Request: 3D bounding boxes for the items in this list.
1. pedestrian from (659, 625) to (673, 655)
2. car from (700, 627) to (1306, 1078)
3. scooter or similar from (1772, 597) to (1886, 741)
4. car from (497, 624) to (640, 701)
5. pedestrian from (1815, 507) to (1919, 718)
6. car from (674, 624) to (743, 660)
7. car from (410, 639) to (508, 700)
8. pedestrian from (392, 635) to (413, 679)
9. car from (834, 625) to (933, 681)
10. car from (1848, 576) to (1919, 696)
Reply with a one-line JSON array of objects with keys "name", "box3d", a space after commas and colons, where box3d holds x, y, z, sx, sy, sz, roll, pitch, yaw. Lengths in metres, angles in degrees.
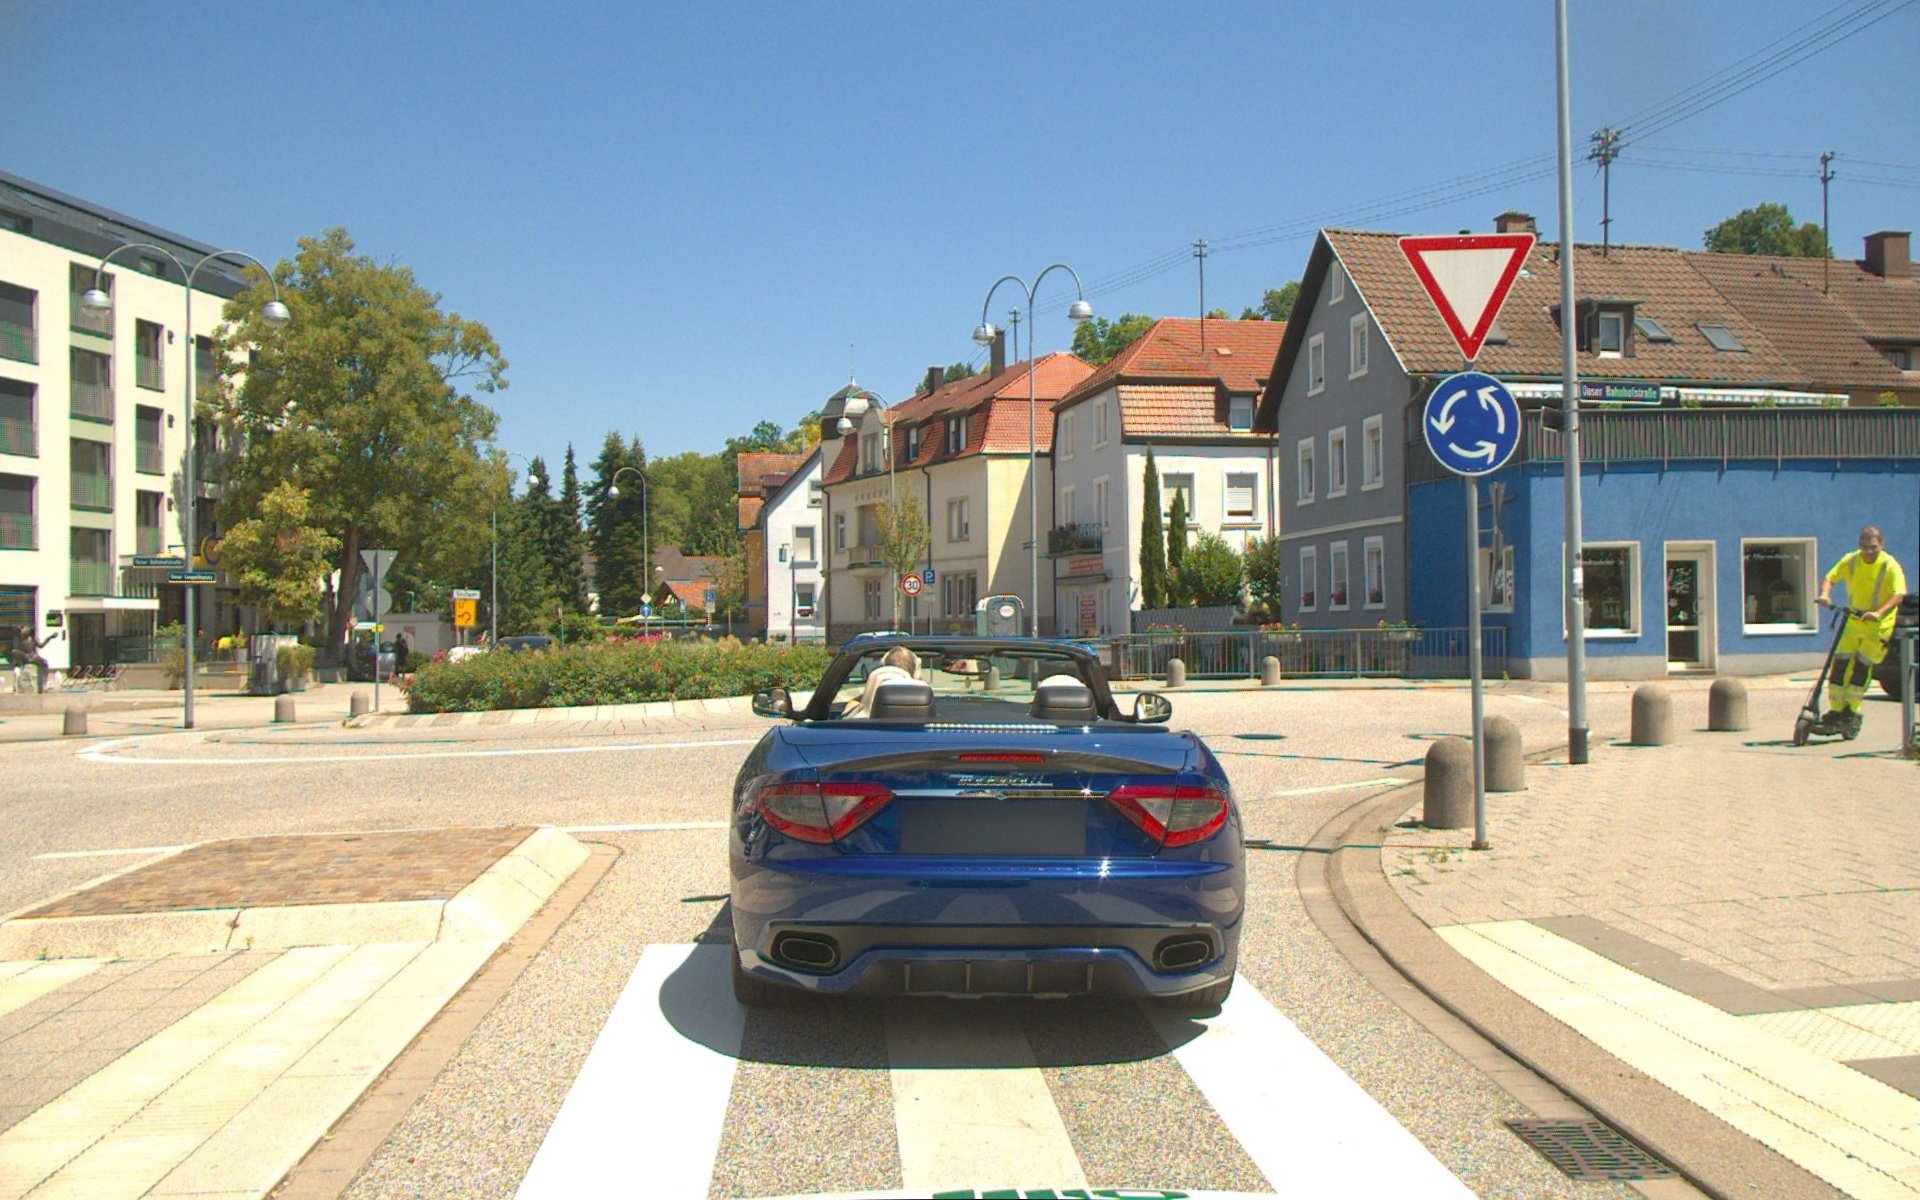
[{"name": "pedestrian", "box3d": [-15.905, 2.177, 89.480, 0.604, 1.613, 0.582, -1, -1, -27]}, {"name": "car", "box3d": [0.153, 0.815, 7.263, 1.871, 1.384, 4.285, 0, -1, 0]}, {"name": "scooter or similar", "box3d": [7.829, 0.604, 14.945, 0.517, 1.244, 1.241, -2, -1, 10]}, {"name": "car", "box3d": [-9.123, 1.434, 38.910, 1.759, 1.671, 4.062, -2, -1, 11]}, {"name": "pedestrian", "box3d": [8.194, 0.106, 14.835, 0.733, 1.831, 0.669, -2, 0, -44]}, {"name": "car", "box3d": [-11.956, 1.996, 78.487, 1.831, 1.616, 3.958, -2, -1, -31]}, {"name": "car", "box3d": [-13.424, 1.827, 44.496, 1.956, 1.536, 3.992, 0, -1, -9]}, {"name": "pedestrian", "box3d": [-20.944, 2.137, 62.146, 0.523, 1.603, 0.563, -2, -1, 10]}, {"name": "car", "box3d": [-2.425, 1.672, 51.507, 1.890, 1.641, 4.122, -1, -2, -20]}, {"name": "car", "box3d": [14.533, 0.428, 22.538, 4.177, 1.574, 1.805, -1, 0, -14]}]
